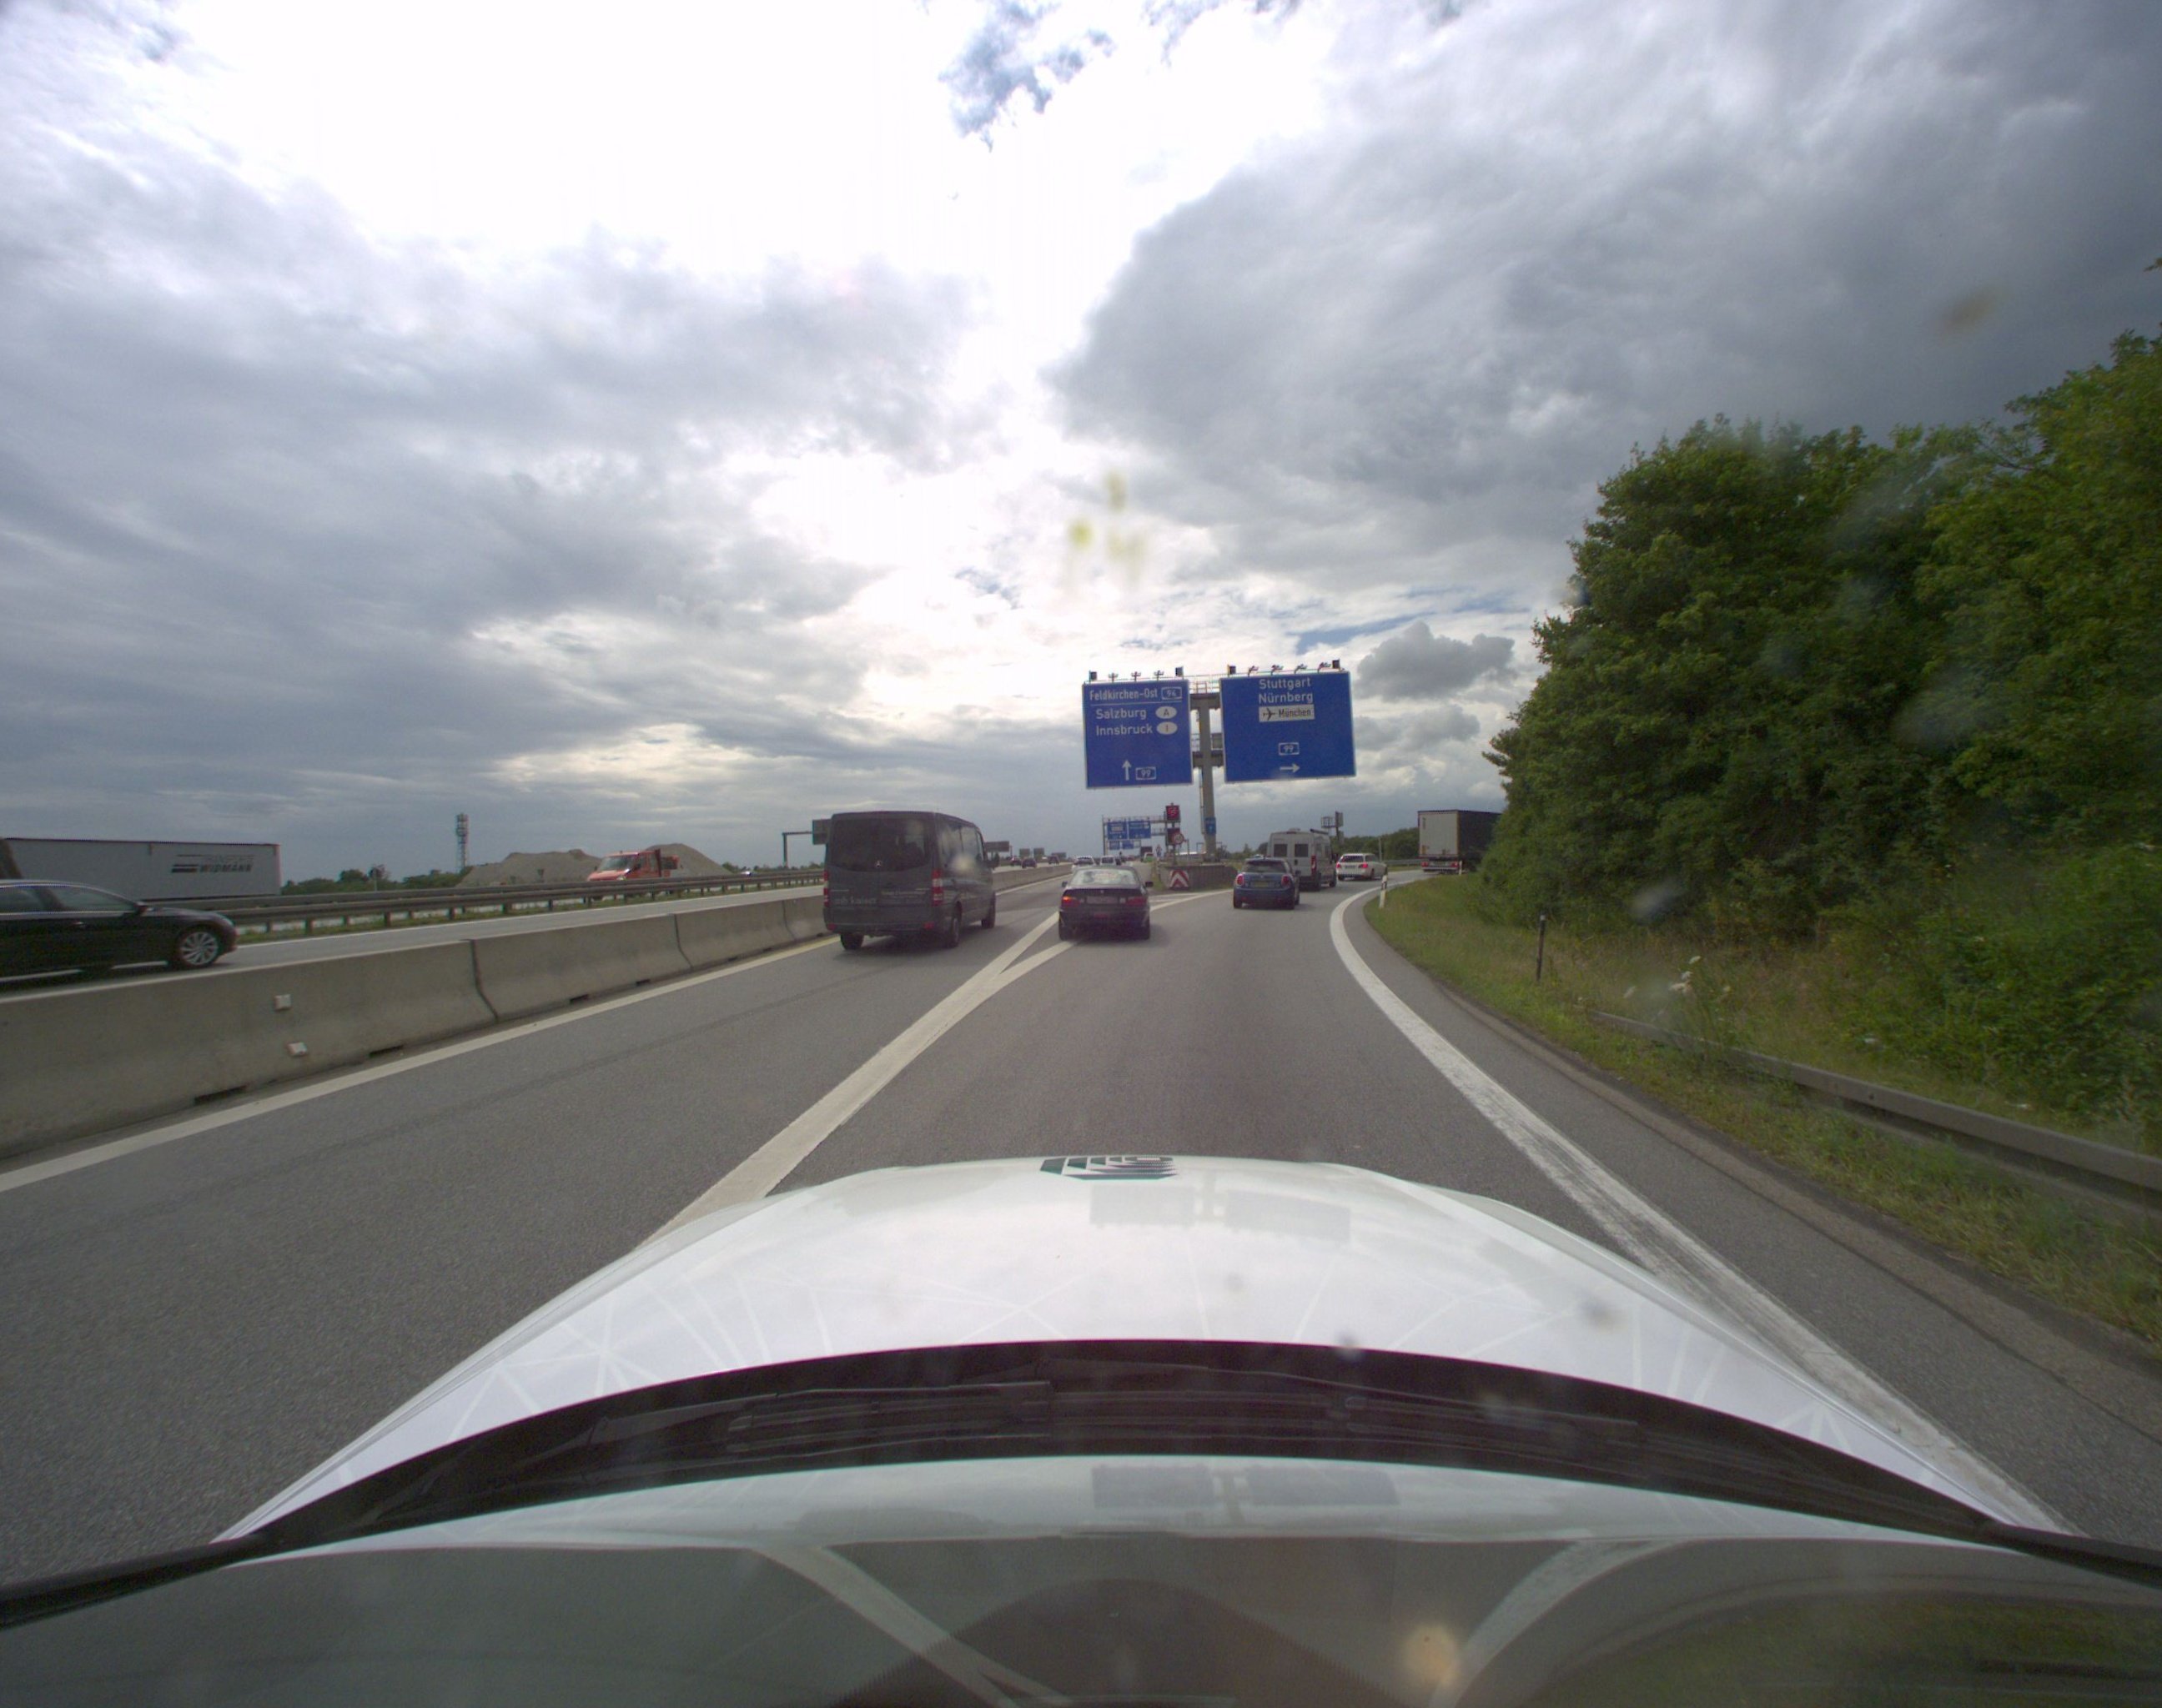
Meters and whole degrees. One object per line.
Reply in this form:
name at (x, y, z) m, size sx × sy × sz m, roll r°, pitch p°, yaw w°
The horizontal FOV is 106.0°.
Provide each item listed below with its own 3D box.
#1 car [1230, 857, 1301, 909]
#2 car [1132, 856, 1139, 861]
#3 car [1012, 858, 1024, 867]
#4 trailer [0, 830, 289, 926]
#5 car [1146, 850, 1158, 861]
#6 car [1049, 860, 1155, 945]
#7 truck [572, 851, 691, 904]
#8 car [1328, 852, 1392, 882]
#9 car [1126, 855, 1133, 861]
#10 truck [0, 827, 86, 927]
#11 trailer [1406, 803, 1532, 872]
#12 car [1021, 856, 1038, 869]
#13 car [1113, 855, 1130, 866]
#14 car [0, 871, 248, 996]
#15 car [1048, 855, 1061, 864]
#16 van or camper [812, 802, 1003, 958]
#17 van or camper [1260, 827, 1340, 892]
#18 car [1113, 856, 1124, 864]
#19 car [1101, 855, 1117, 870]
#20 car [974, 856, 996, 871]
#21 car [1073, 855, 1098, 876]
car at (5.556, 0.799, 24.250) m, size 1.715 × 1.419 × 3.682 m, roll -1°, pitch -1°, yaw 18°
car at (16.334, 1.485, 243.414) m, size 1.795 × 1.424 × 4.005 m, roll -2°, pitch 0°, yaw 5°
car at (-10.189, 1.315, 132.030) m, size 1.546 × 1.376 × 4.002 m, roll -1°, pitch 0°, yaw 2°
trailer at (-37.968, 0.845, 32.594) m, size 3.189 × 3.269 × 9.815 m, roll -1°, pitch 0°, yaw -2°
car at (13.571, 0.275, 156.303) m, size 1.986 × 2.013 × 4.002 m, roll -1°, pitch 0°, yaw 2°
car at (0.494, 0.847, 16.034) m, size 1.774 × 1.378 × 4.141 m, roll -2°, pitch 0°, yaw 4°
truck at (-22.314, 1.090, 40.839) m, size 2.267 × 2.370 × 6.203 m, roll -1°, pitch 0°, yaw 2°
car at (15.450, 0.670, 44.917) m, size 2.184 × 1.501 × 4.818 m, roll -2°, pitch -1°, yaw 34°
car at (13.404, 1.054, 225.498) m, size 1.795 × 1.424 × 4.005 m, roll -2°, pitch 0°, yaw 5°
truck at (-37.761, 0.803, 26.796) m, size 3.142 × 3.330 × 5.618 m, roll -1°, pitch 0°, yaw -2°
trailer at (26.530, -1.072, 55.086) m, size 13.107 × 4.193 × 3.300 m, roll -1°, pitch 0°, yaw -44°
car at (-6.770, 1.108, 107.108) m, size 1.767 × 1.530 × 4.003 m, roll -2°, pitch 0°, yaw 3°
car at (5.557, 0.885, 110.705) m, size 1.983 × 1.468 × 4.007 m, roll -2°, pitch 0°, yaw 6°
car at (-14.744, 1.063, 11.068) m, size 2.051 × 1.527 × 4.570 m, roll -1°, pitch 0°, yaw 2°
car at (-5.258, 1.115, 162.333) m, size 1.985 × 1.683 × 4.870 m, roll -1°, pitch 0°, yaw 3°
van or camper at (-2.988, 0.407, 15.672) m, size 1.991 × 2.370 × 6.131 m, roll -1°, pitch 0°, yaw 3°
van or camper at (9.766, 0.216, 35.824) m, size 2.272 × 2.568 × 6.196 m, roll -2°, pitch 0°, yaw 25°
car at (6.930, 1.037, 149.544) m, size 1.858 × 1.424 × 4.004 m, roll -2°, pitch 0°, yaw 4°
car at (2.946, 0.888, 86.034) m, size 1.578 × 1.484 × 3.538 m, roll -2°, pitch 0°, yaw 4°
car at (-11.505, 1.131, 98.063) m, size 1.893 × 1.638 × 4.236 m, roll -1°, pitch 0°, yaw 3°
car at (0.343, 0.842, 60.598) m, size 1.694 × 1.508 × 3.842 m, roll -1°, pitch 0°, yaw 2°
